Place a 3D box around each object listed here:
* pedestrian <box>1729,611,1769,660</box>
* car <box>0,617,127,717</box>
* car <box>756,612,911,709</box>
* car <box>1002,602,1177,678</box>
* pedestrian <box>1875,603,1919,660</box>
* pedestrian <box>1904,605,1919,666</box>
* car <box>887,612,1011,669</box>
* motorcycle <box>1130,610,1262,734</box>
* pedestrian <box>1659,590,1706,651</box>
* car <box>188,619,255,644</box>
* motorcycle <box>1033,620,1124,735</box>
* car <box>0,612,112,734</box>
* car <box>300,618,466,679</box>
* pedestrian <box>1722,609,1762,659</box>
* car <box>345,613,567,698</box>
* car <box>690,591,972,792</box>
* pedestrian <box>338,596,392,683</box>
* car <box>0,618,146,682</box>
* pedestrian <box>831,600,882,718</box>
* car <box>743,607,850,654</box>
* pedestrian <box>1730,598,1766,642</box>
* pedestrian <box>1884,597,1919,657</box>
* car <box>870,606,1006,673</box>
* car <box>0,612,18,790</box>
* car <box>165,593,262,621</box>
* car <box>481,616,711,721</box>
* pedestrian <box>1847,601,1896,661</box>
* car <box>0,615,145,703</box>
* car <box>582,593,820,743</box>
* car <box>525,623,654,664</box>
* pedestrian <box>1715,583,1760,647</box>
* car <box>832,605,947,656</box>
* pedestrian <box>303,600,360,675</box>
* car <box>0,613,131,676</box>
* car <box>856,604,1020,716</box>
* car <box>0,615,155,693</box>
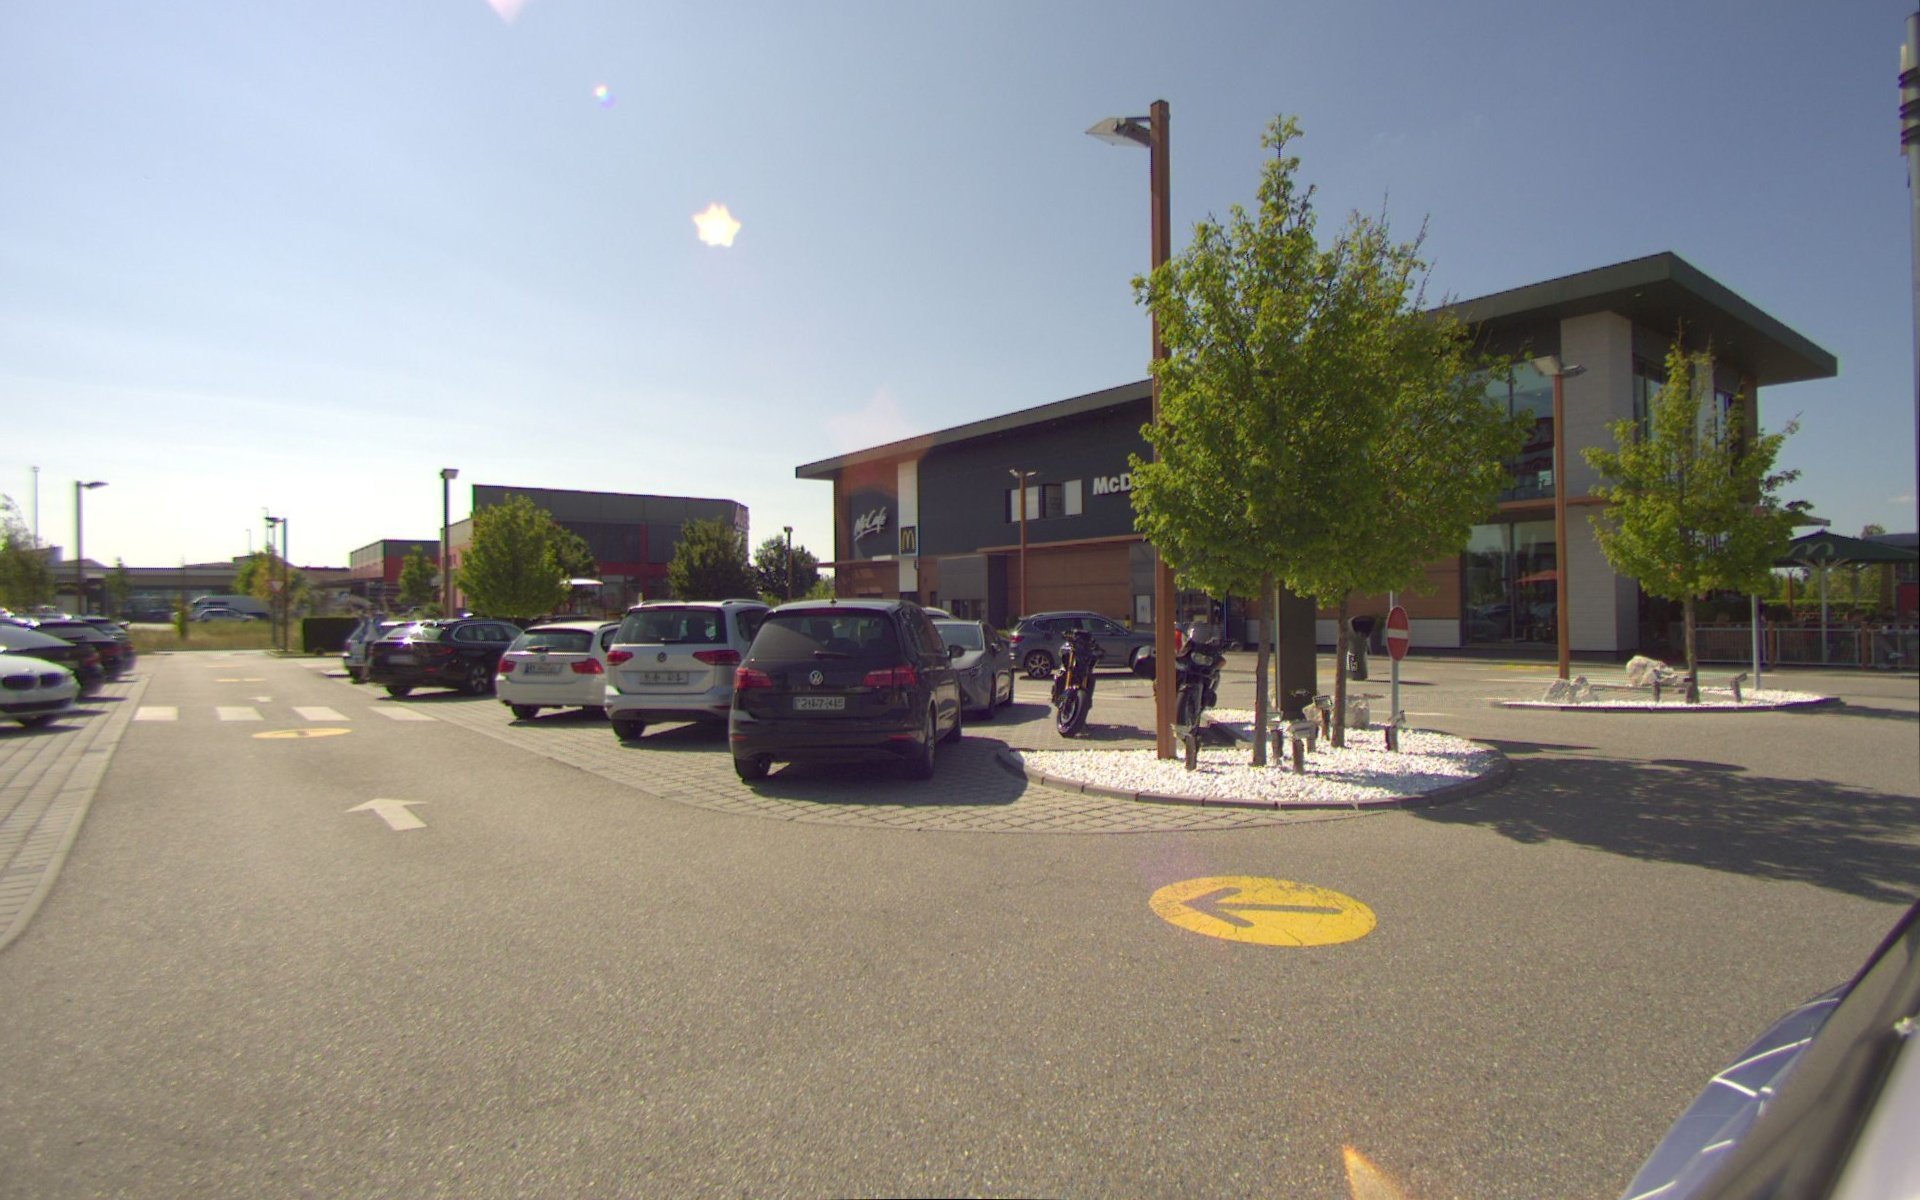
[{"bbox_3d":[18.699,0.830,23.989,0.515,1.138,0.633,1,-2,-42],"label":"pedestrian"},{"bbox_3d":[-15.527,1.005,15.761,3.934,1.421,1.816,-1,-1,9],"label":"car"},{"bbox_3d":[-2.247,1.053,19.092,1.783,1.614,3.987,-1,-1,10],"label":"car"},{"bbox_3d":[3.216,0.978,25.522,4.153,1.623,1.788,-3,1,6],"label":"car"},{"bbox_3d":[21.330,0.702,22.997,0.515,1.274,0.714,1,-2,-42],"label":"pedestrian"},{"bbox_3d":[20.528,0.746,21.423,0.563,1.274,0.728,1,-2,-43],"label":"pedestrian"},{"bbox_3d":[-0.288,1.119,28.430,3.351,1.501,1.567,-1,-1,2],"label":"car"},{"bbox_3d":[2.651,0.793,11.699,1.051,1.267,2.249,-2,-2,3],"label":"motorcycle"},{"bbox_3d":[19.392,0.549,27.167,0.714,1.604,0.742,0,-2,-29],"label":"pedestrian"},{"bbox_3d":[-55.558,2.355,76.166,3.932,1.750,1.890,0,-1,-43],"label":"car"},{"bbox_3d":[1.385,0.883,12.234,0.805,1.247,2.140,-1,-2,0],"label":"motorcycle"},{"bbox_3d":[-13.879,0.923,13.065,4.391,1.490,1.912,-1,-1,3],"label":"car"},{"bbox_3d":[-14.748,1.192,26.132,1.678,1.444,3.892,-1,-1,9],"label":"car"},{"bbox_3d":[18.198,0.777,23.565,0.515,1.138,0.633,1,-2,-42],"label":"pedestrian"},{"bbox_3d":[-10.038,1.037,20.600,1.950,1.530,4.407,-1,-1,7],"label":"car"},{"bbox_3d":[-1.006,0.743,10.052,1.863,1.556,4.183,-1,-1,6],"label":"car"},{"bbox_3d":[-13.644,0.891,23.235,1.008,1.940,0.904,0,-1,-26],"label":"pedestrian"},{"bbox_3d":[-22.223,1.179,24.052,4.599,1.429,1.710,-1,-1,5],"label":"car"},{"bbox_3d":[-1.559,0.880,15.290,0.602,1.735,0.561,-1,-1,15],"label":"pedestrian"},{"bbox_3d":[-6.478,1.167,39.943,3.954,1.727,1.678,-1,0,-16],"label":"car"},{"bbox_3d":[20.382,0.514,26.173,0.645,1.115,0.572,0,-2,-40],"label":"pedestrian"},{"bbox_3d":[20.666,0.587,22.117,0.515,1.274,0.633,1,-2,-42],"label":"pedestrian"},{"bbox_3d":[-0.654,1.196,31.157,4.068,1.946,1.757,-1,-1,2],"label":"car"},{"bbox_3d":[-9.885,0.829,7.621,4.113,1.444,1.841,-1,-1,6],"label":"car"},{"bbox_3d":[-62.455,0.590,84.740,6.453,2.273,2.298,0,-1,-39],"label":"car"},{"bbox_3d":[-5.472,0.977,15.828,1.763,1.426,4.073,-1,-1,7],"label":"car"},{"bbox_3d":[19.757,0.676,21.935,0.515,1.274,0.714,1,-2,-42],"label":"pedestrian"},{"bbox_3d":[-17.601,1.048,18.522,3.925,1.508,1.820,-1,-1,1],"label":"car"},{"bbox_3d":[-3.183,0.799,13.322,1.718,1.661,4.059,-1,-1,6],"label":"car"},{"bbox_3d":[-16.131,1.851,44.223,4.975,1.650,1.922,0,-1,-40],"label":"car"},{"bbox_3d":[21.907,0.425,28.531,0.893,1.791,0.791,-2,-2,43],"label":"pedestrian"},{"bbox_3d":[-2.405,1.008,34.237,3.768,1.653,1.759,0,-1,-4],"label":"car"},{"bbox_3d":[-16.462,0.974,26.531,0.890,1.940,0.913,-1,-1,18],"label":"pedestrian"},{"bbox_3d":[-24.657,1.157,26.747,3.975,1.576,1.807,-1,-1,-3],"label":"car"},{"bbox_3d":[-0.176,0.889,15.720,1.805,1.466,4.649,-1,-2,8],"label":"car"},{"bbox_3d":[-19.558,1.094,20.925,4.264,1.531,1.781,0,-1,-6],"label":"car"}]
